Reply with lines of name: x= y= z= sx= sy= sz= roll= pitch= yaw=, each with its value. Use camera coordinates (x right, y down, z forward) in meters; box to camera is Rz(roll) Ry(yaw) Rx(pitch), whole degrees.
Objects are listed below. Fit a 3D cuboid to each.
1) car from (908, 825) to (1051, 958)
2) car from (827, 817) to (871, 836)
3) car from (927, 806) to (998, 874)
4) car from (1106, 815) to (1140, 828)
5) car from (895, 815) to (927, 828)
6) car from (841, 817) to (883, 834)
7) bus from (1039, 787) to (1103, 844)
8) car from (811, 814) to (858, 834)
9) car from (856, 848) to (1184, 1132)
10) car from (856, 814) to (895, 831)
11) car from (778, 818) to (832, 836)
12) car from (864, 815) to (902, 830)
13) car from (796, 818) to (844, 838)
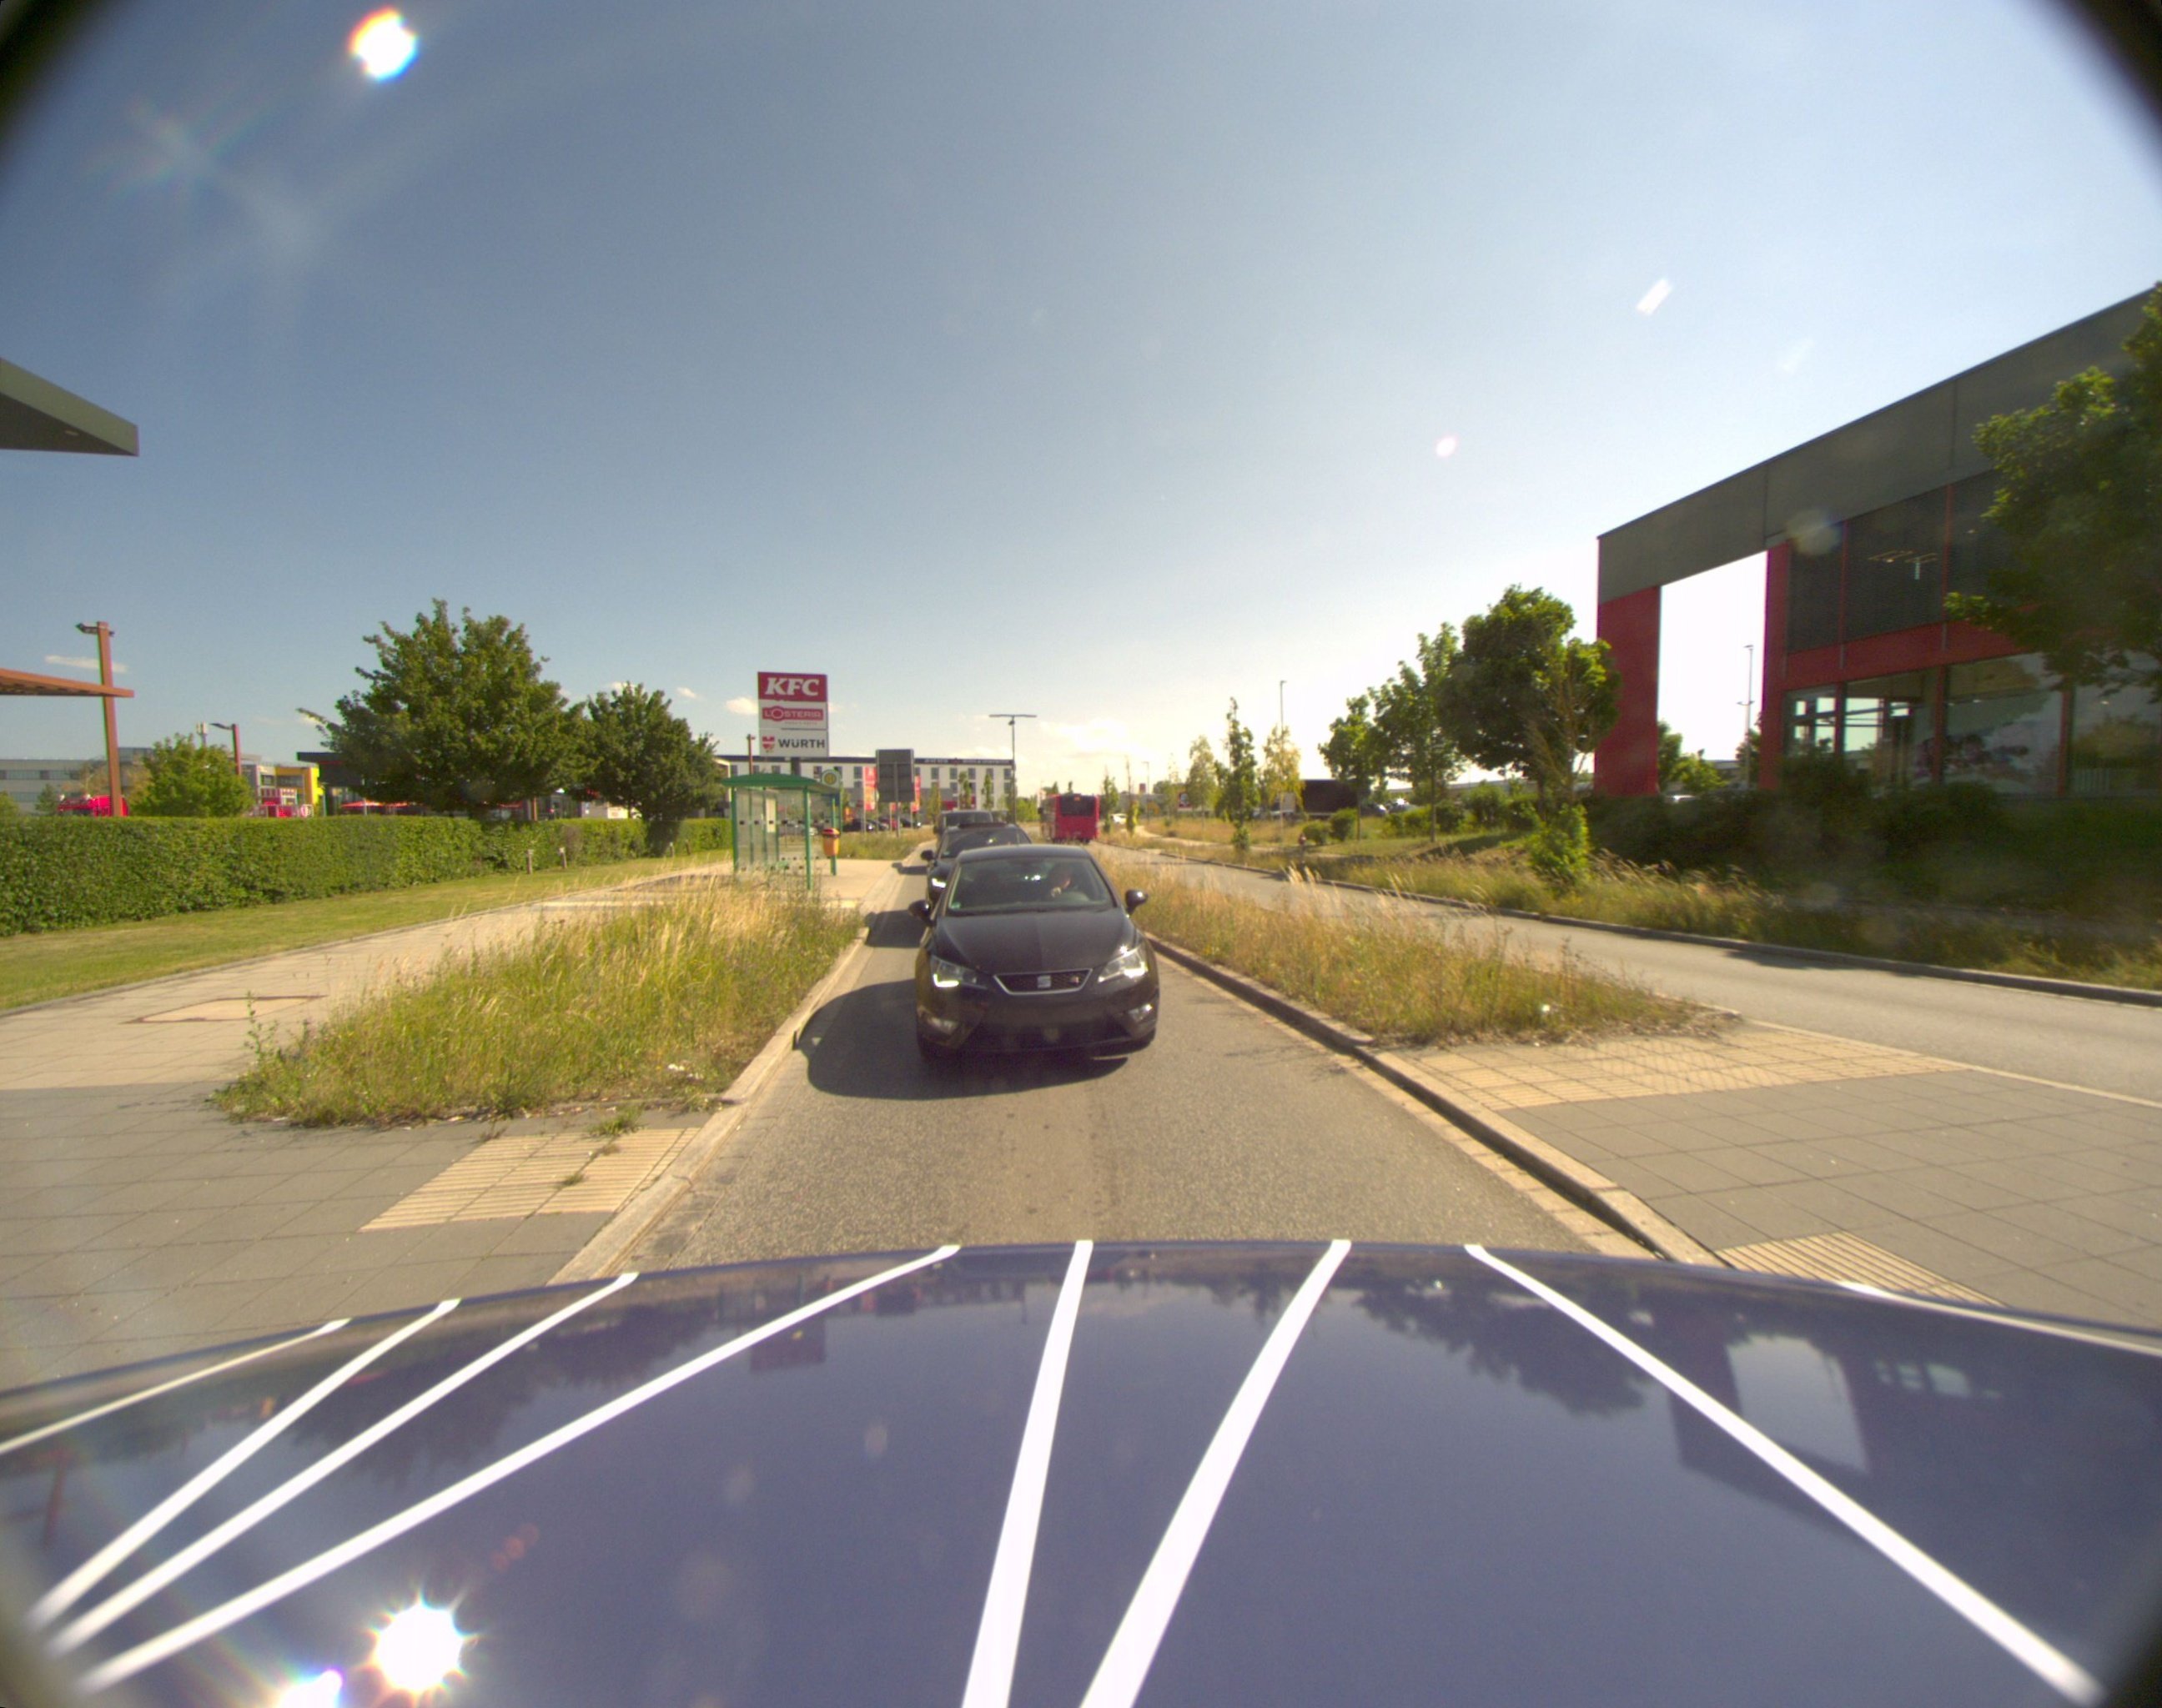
car: x=-1.667 y=0.436 z=12.551 sx=1.863 sy=1.679 sz=3.995 roll=-4 pitch=4 yaw=-8
car: x=-25.793 y=-3.061 z=84.505 sx=4.182 sy=2.003 sz=1.933 roll=0 pitch=3 yaw=4
car: x=-4.054 y=-0.568 z=26.268 sx=2.080 sy=2.038 sz=4.677 roll=-4 pitch=4 yaw=-8
car: x=5.545 y=-4.357 z=100.606 sx=4.288 sy=1.667 sz=1.615 roll=-2 pitch=3 yaw=-28
car: x=-22.707 y=-4.333 z=101.600 sx=3.821 sy=1.611 sz=1.756 roll=0 pitch=3 yaw=3
car: x=-25.051 y=-3.241 z=86.820 sx=4.181 sy=1.847 sz=1.803 roll=0 pitch=3 yaw=8
bus: x=-0.872 y=-2.445 z=49.139 sx=2.617 sy=3.224 sz=11.866 roll=-1 pitch=3 yaw=-8
car: x=-26.120 y=-3.196 z=80.612 sx=4.183 sy=2.003 sz=1.933 roll=0 pitch=3 yaw=4
car: x=-0.491 y=0.758 z=6.349 sx=1.862 sy=1.460 sz=3.996 roll=-1 pitch=3 yaw=-5
car: x=-24.824 y=-3.865 z=91.914 sx=4.183 sy=2.003 sz=1.932 roll=-1 pitch=3 yaw=2
car: x=-26.410 y=-2.632 z=72.814 sx=4.441 sy=1.644 sz=1.932 roll=-1 pitch=3 yaw=-3
car: x=-24.741 y=-3.966 z=95.241 sx=4.181 sy=1.752 sz=1.824 roll=0 pitch=3 yaw=7
car: x=-26.614 y=-2.674 z=77.483 sx=4.182 sy=2.003 sz=1.933 roll=0 pitch=3 yaw=5
